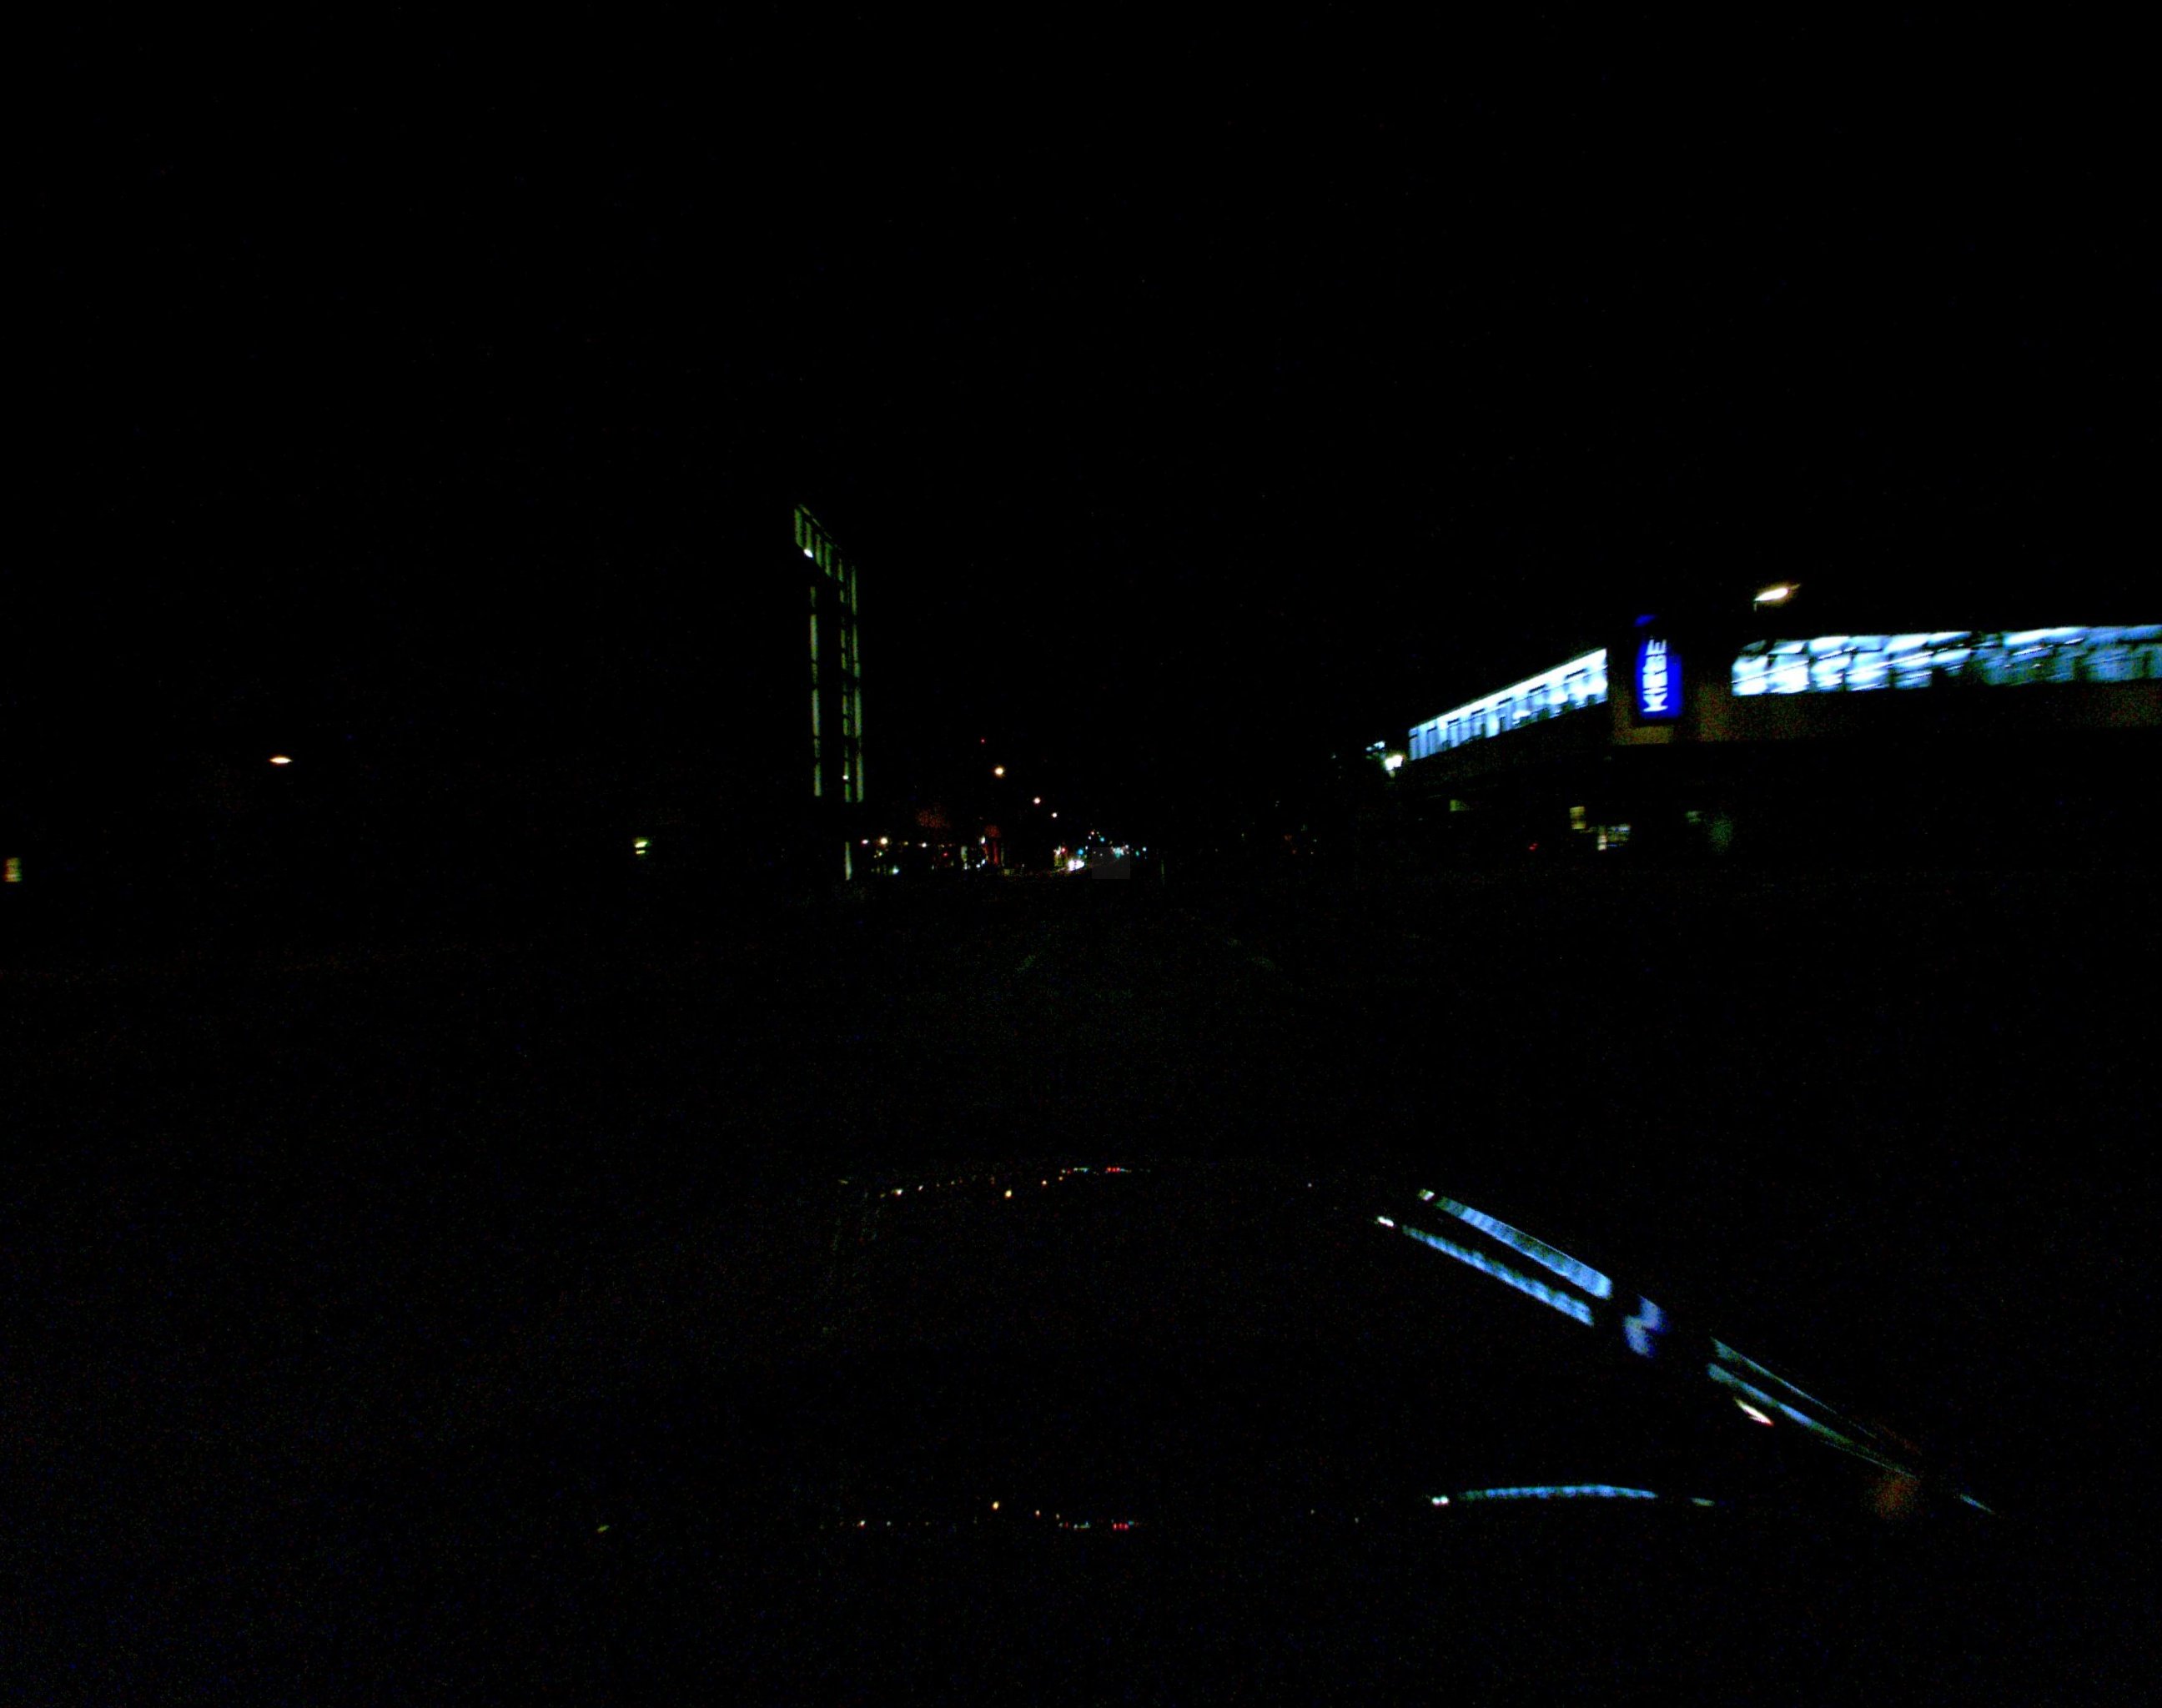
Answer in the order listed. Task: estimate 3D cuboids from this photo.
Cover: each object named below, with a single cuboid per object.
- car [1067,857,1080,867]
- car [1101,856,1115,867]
[{"bbox_3d":[-1.277,1.359,140.610,1.987,1.643,4.000,-3,0,1],"label":"car"},{"bbox_3d":[4.085,1.126,123.853,1.986,1.643,4.001,-3,0,2],"label":"car"}]
